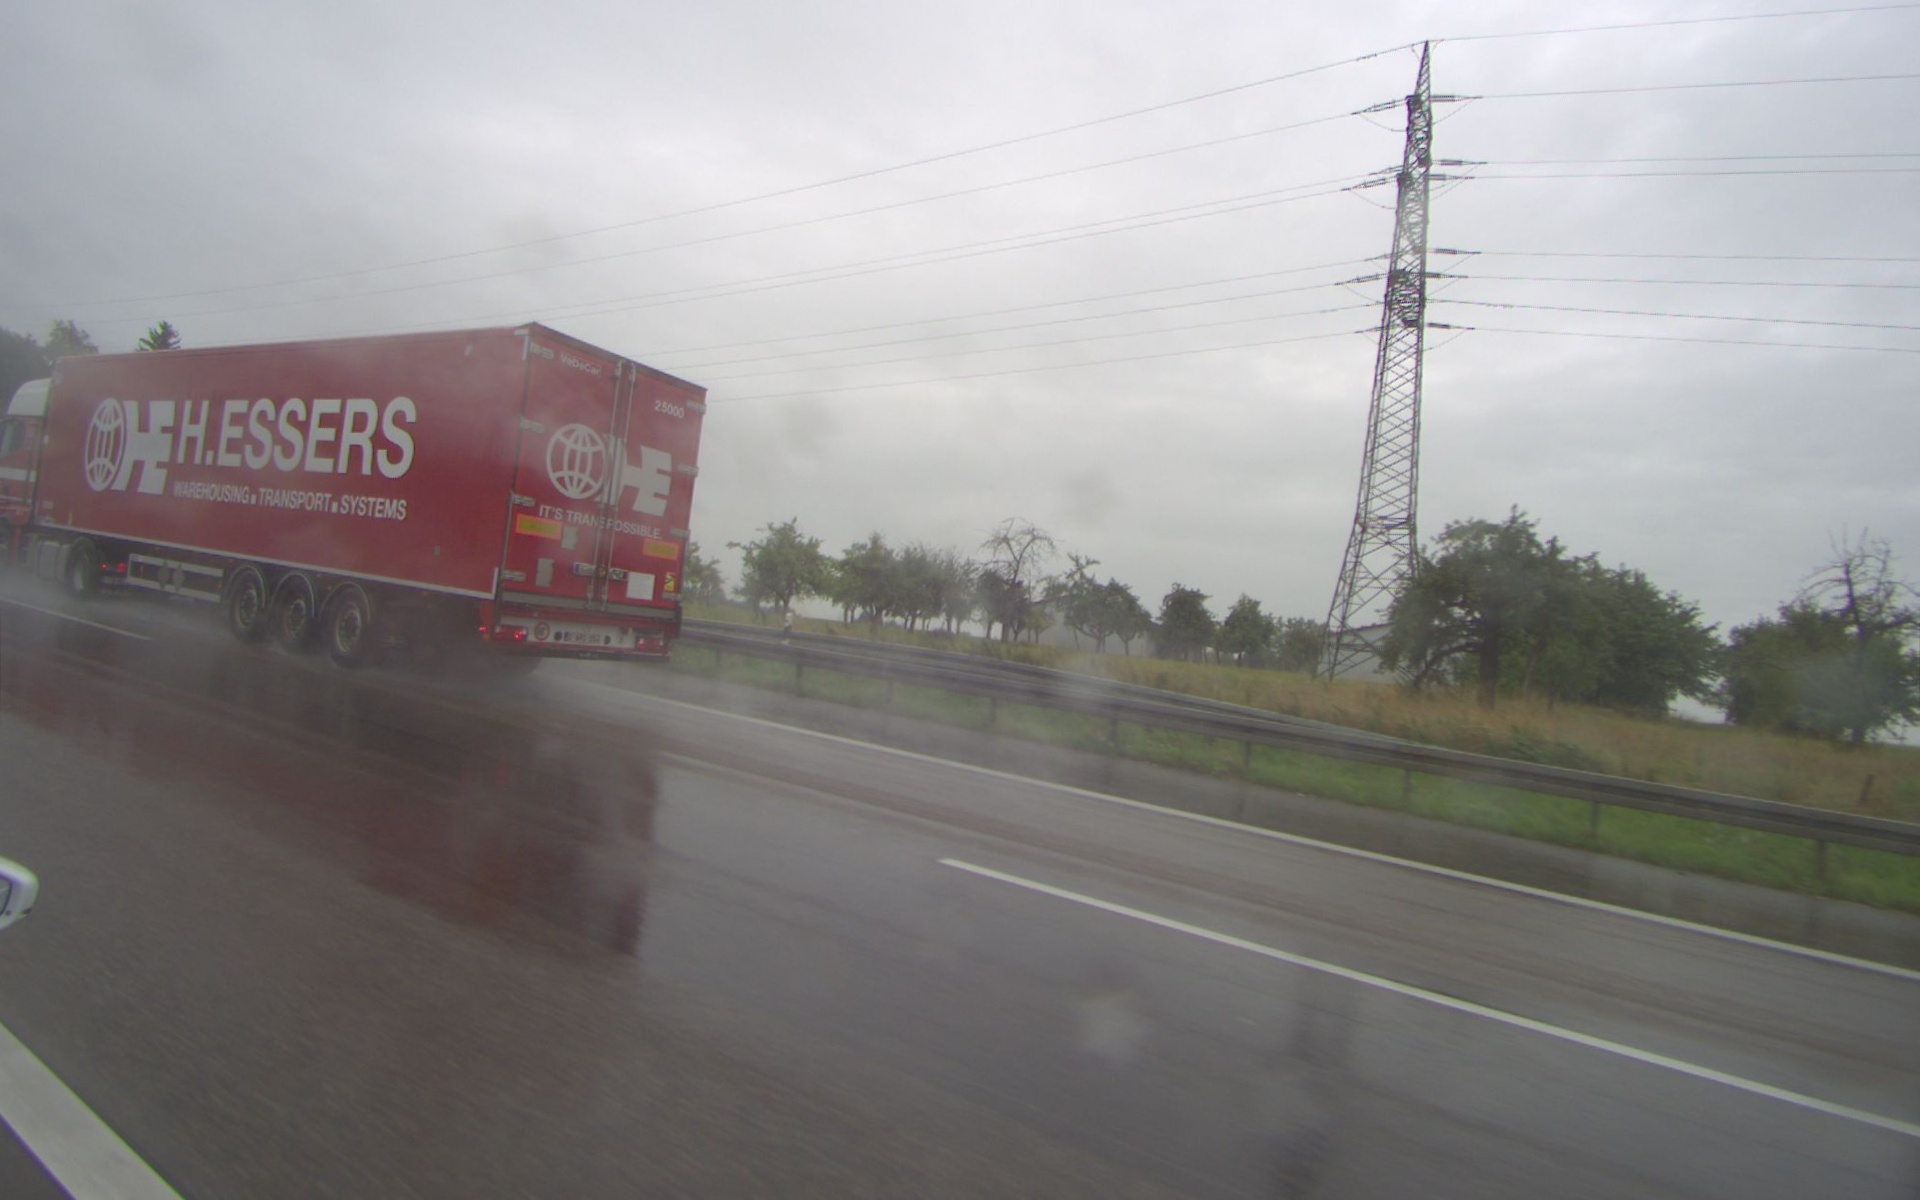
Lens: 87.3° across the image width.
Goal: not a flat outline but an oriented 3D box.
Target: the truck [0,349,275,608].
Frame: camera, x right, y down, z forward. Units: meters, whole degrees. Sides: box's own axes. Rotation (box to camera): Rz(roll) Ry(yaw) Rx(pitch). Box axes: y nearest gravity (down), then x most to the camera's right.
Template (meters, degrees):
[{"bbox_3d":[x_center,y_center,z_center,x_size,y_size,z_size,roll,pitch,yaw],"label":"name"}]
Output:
[{"bbox_3d":[-15.771,-2.216,18.789,5.342,4.002,2.624,7,-1,31],"label":"truck"}]

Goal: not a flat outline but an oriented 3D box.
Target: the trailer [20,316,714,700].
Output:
[{"bbox_3d":[-9.686,-1.485,15.059,13.403,4.002,2.624,6,-1,31],"label":"trailer"}]
